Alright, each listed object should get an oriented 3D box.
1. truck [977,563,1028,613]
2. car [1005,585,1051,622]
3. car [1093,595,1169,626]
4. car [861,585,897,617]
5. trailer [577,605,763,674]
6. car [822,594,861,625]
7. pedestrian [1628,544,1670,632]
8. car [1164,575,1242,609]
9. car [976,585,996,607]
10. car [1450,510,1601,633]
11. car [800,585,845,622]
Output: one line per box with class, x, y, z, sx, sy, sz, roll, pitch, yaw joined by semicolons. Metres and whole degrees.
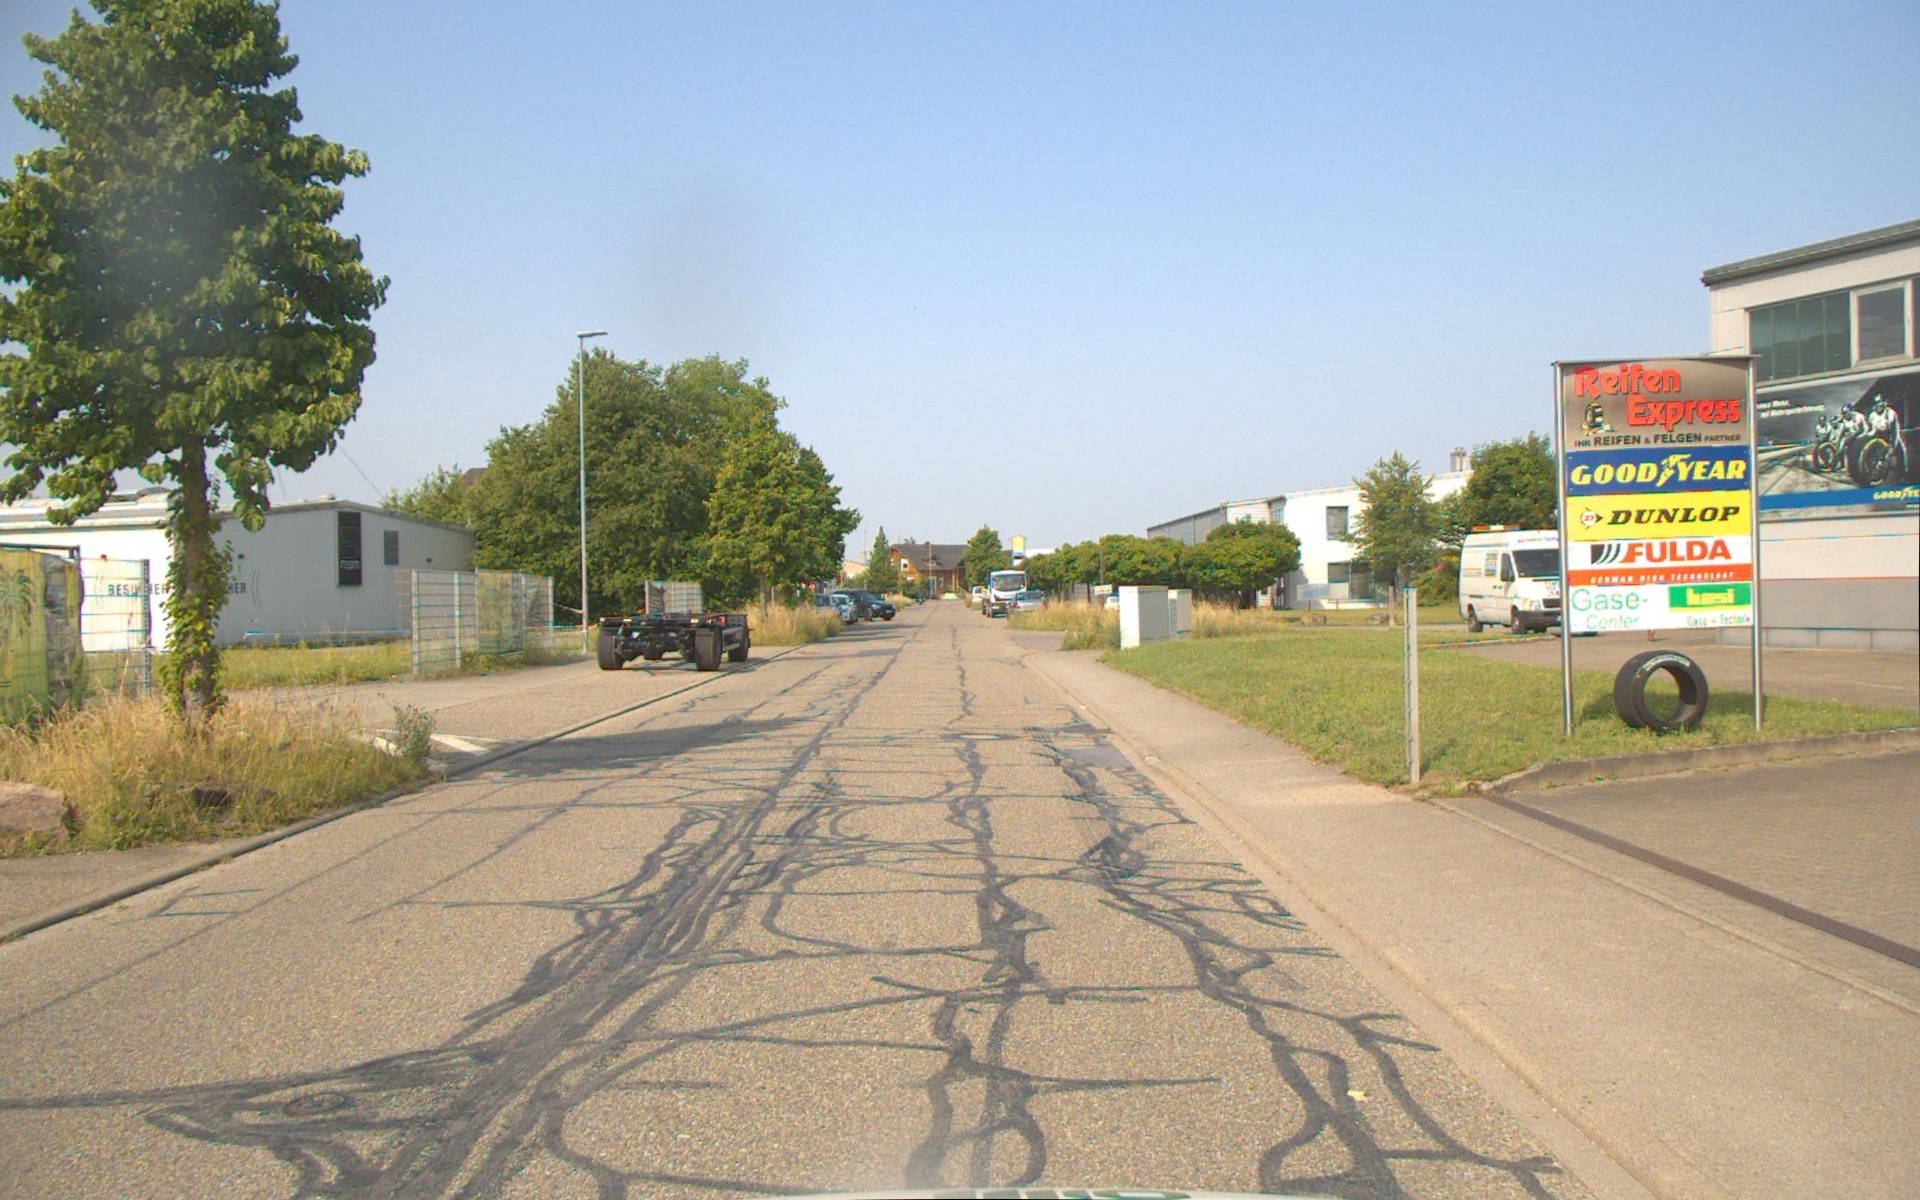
truck;2.444;-0.689;96.490;2.313;2.728;6.506;-1;0;-4
car;2.963;0.140;72.934;1.757;1.544;4.423;-1;0;-1
car;8.439;0.512;81.689;3.664;1.404;1.663;-2;1;-40
car;-4.697;0.036;96.231;1.818;1.744;4.226;-3;1;0
trailer;-6.088;0.771;36.192;2.530;1.205;9.361;0;0;-1
car;-5.933;0.467;83.186;1.649;1.495;4.253;0;0;0
pedestrian;13.379;-0.231;32.108;0.688;1.668;0.748;-1;0;25
car;12.525;-0.414;85.084;1.659;1.616;4.501;-1;1;45
car;2.450;-0.406;158.766;1.800;1.957;3.756;-2;0;0
car;13.767;-0.684;40.682;1.933;2.753;5.883;-1;0;3
car;-6.093;0.118;73.597;1.534;1.565;3.689;-1;0;2
